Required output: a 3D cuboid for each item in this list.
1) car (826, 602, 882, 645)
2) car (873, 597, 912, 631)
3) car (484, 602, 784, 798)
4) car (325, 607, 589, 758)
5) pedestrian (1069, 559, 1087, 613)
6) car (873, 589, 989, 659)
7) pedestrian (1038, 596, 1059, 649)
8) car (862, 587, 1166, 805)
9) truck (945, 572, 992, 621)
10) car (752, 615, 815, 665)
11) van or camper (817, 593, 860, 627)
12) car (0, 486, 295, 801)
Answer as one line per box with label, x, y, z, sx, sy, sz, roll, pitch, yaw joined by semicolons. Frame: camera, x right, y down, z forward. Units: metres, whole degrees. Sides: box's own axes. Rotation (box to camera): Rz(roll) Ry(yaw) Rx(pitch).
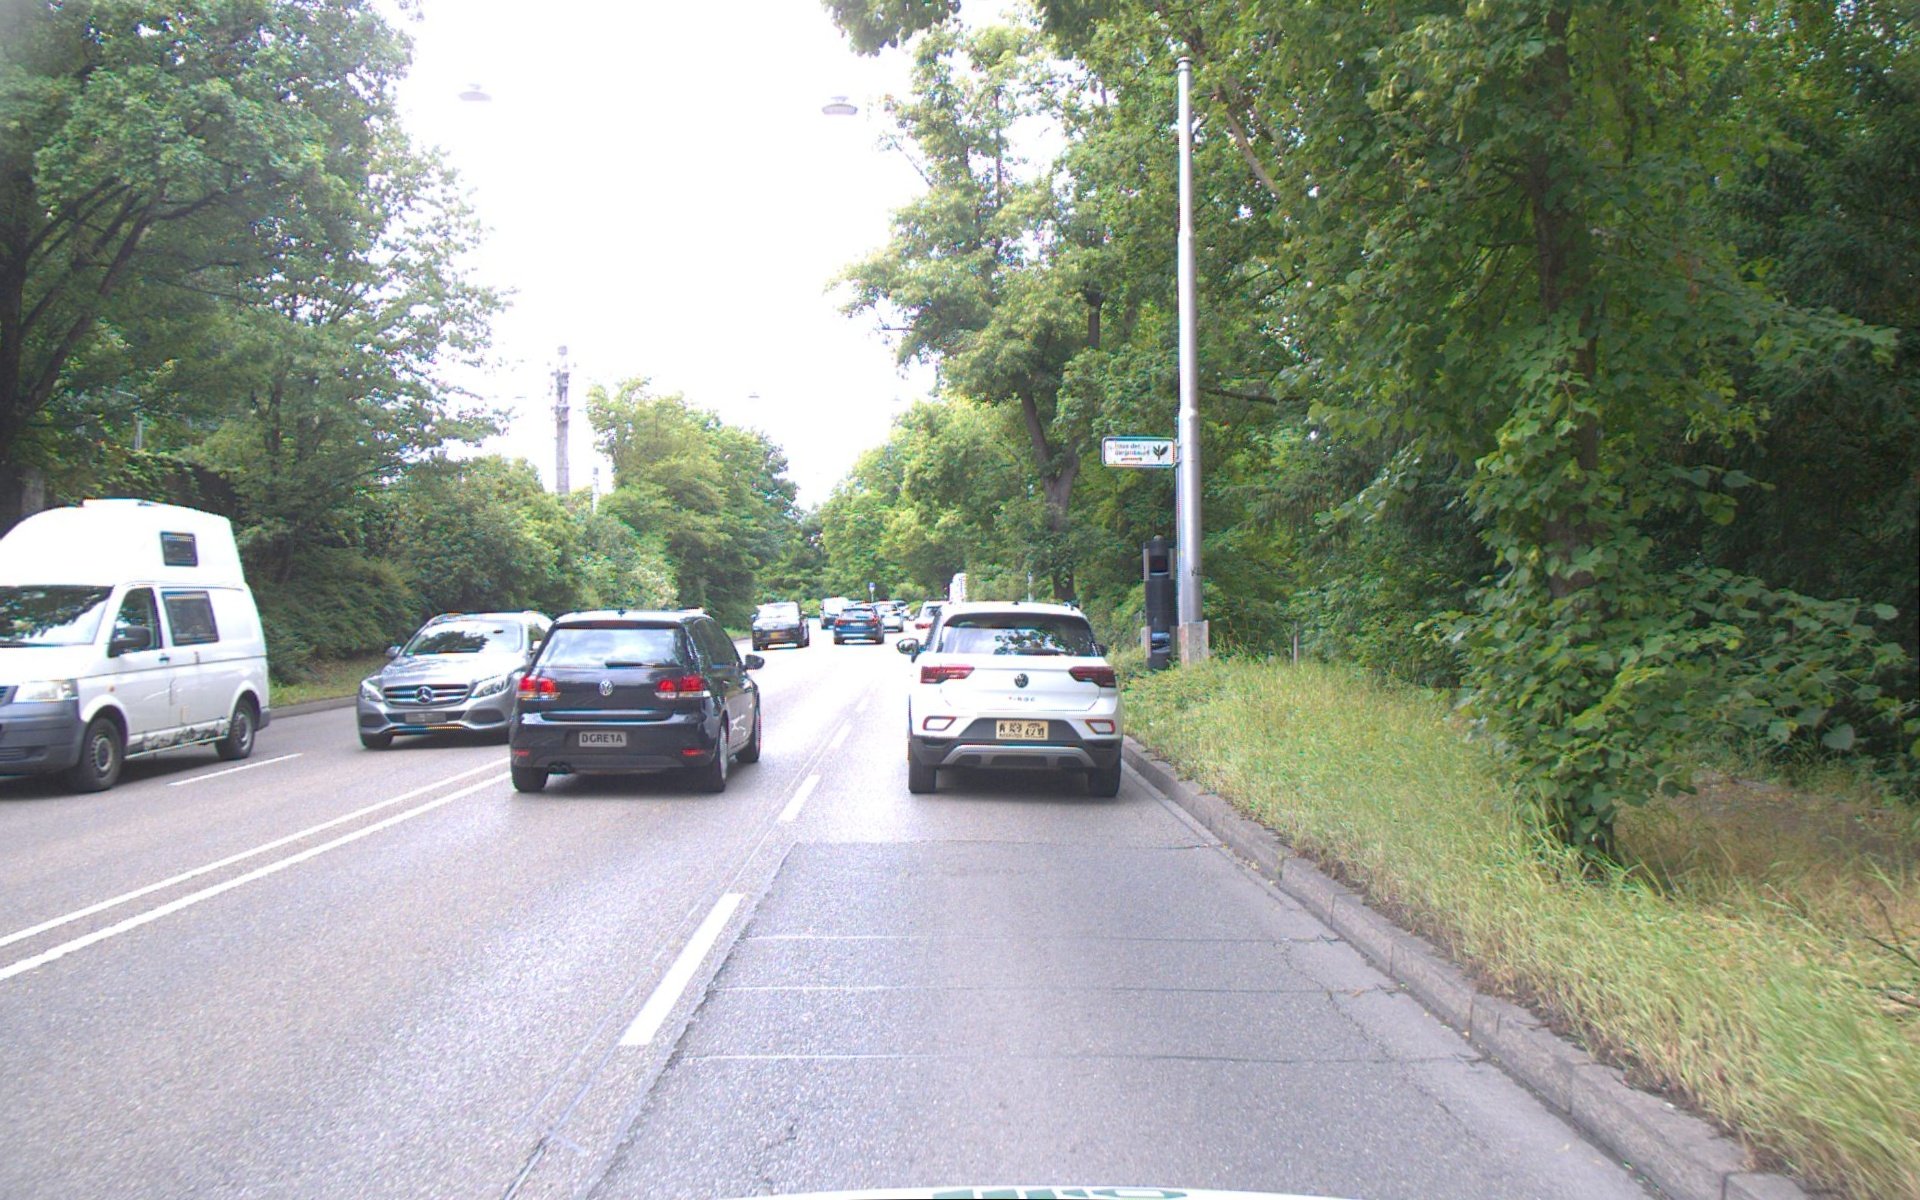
car;-4.067;0.896;63.884;1.953;1.620;3.999;1;-1;-1
car;-3.363;0.707;83.427;1.784;1.651;3.999;1;-1;0
car;-2.708;0.786;14.670;1.910;1.492;3.999;1;-1;-1
car;-5.843;0.896;19.809;1.802;1.491;4.465;-3;0;-1
pedestrian;3.910;-0.449;54.622;0.509;1.784;0.524;1;-1;-4
car;-0.842;0.641;45.450;1.826;1.732;3.972;-3;1;-22
pedestrian;2.897;0.751;54.296;0.597;1.727;0.548;1;-1;-4
car;0.309;0.744;14.484;1.963;1.624;3.992;1;-1;-9
truck;0.563;-0.217;115.085;2.434;3.237;7.219;1;-1;-6
car;-6.397;1.497;60.452;1.773;1.691;4.828;-2;-2;-1
van or camper;-8.060;0.697;109.210;1.960;2.048;5.350;-4;0;-13
car;-8.397;0.387;16.152;1.848;2.600;4.914;-1;-1;-1
